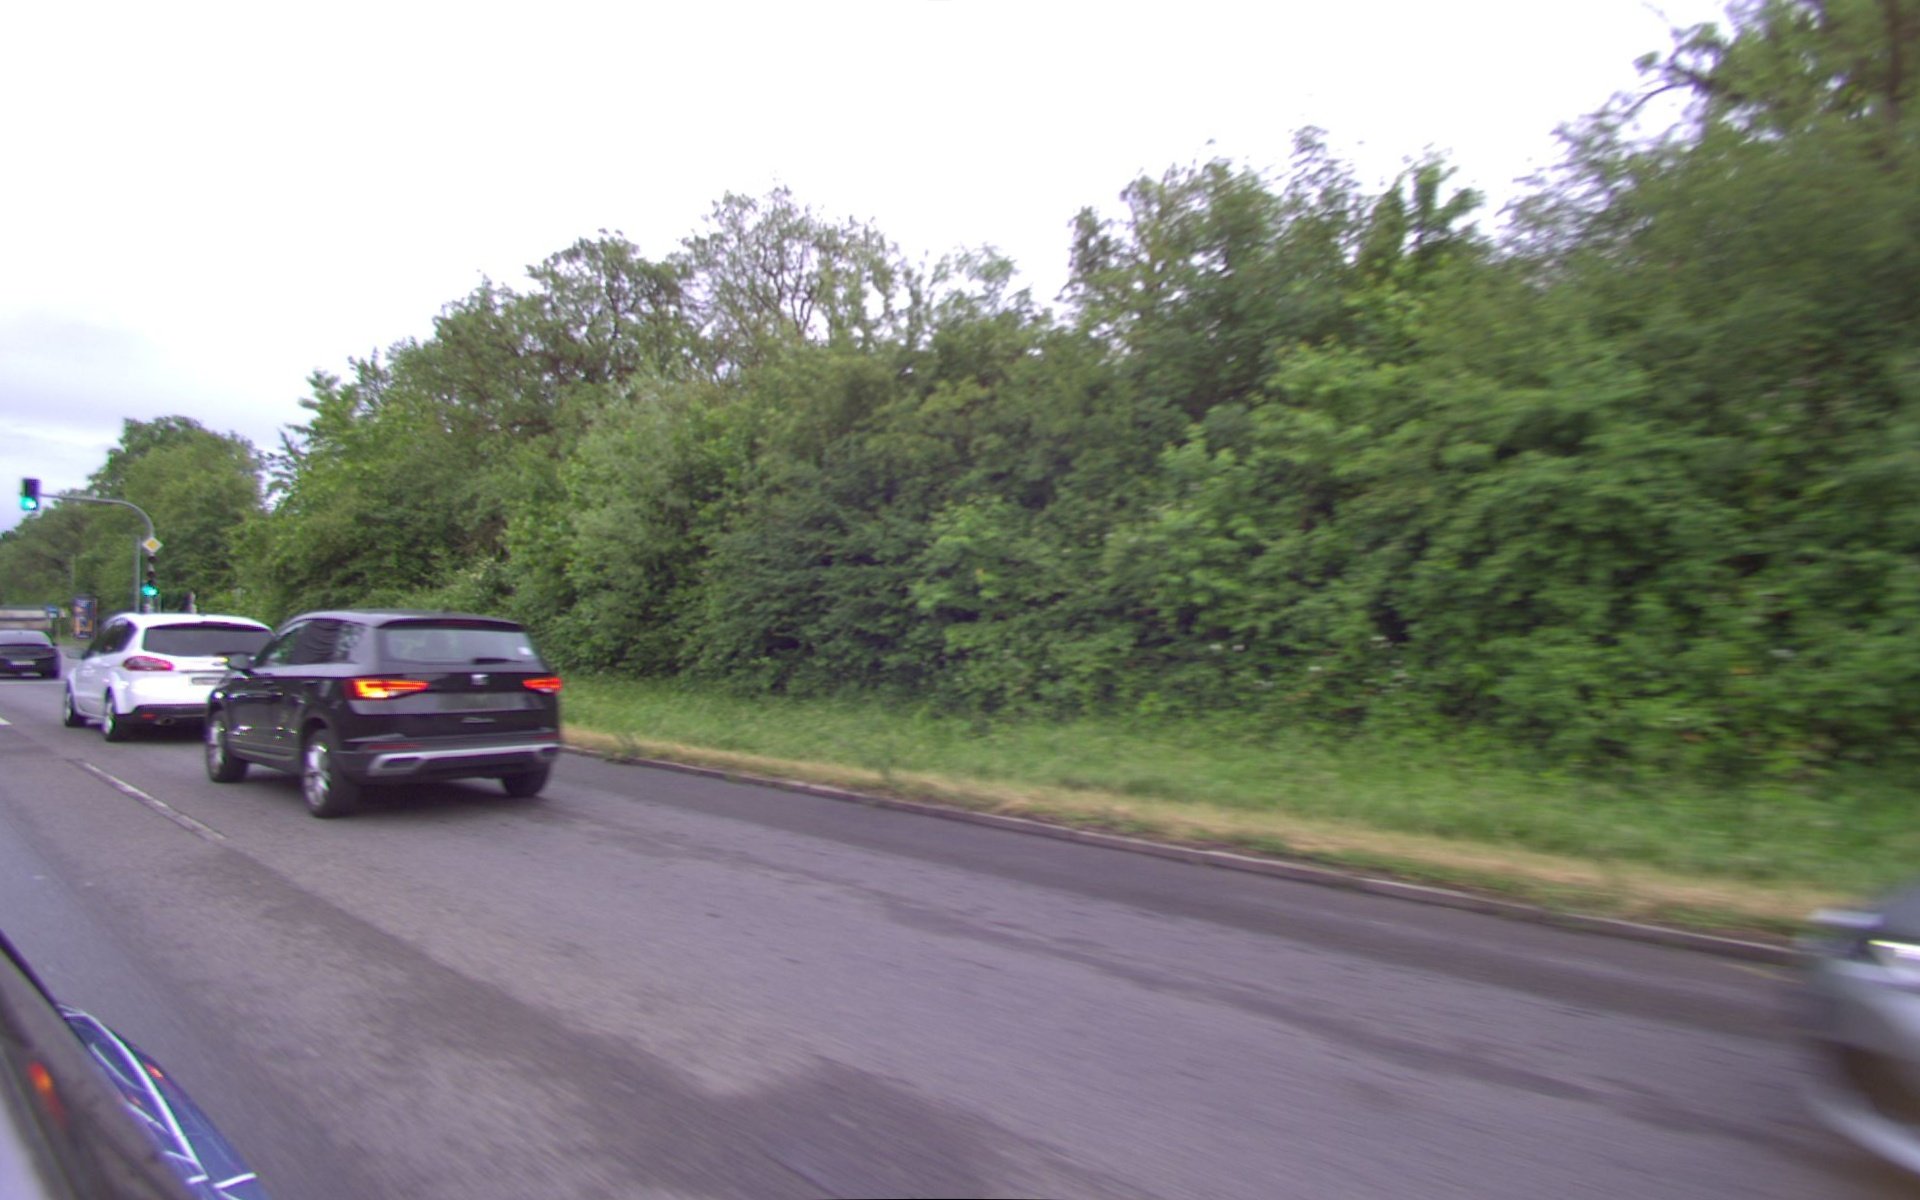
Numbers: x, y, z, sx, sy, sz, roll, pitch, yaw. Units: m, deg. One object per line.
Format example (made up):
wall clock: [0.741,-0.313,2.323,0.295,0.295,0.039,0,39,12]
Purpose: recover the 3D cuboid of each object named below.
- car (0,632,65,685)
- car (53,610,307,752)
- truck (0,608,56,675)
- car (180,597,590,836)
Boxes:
car: [-28.206,1.713,30.060,3.998,1.490,1.906,-2,-4,41]
car: [-10.779,1.022,13.875,4.267,1.647,1.875,-2,-4,40]
truck: [-38.009,1.637,40.470,2.445,2.528,5.640,3,-4,-44]
car: [-5.188,0.864,8.892,4.278,1.606,1.715,-2,-3,40]
